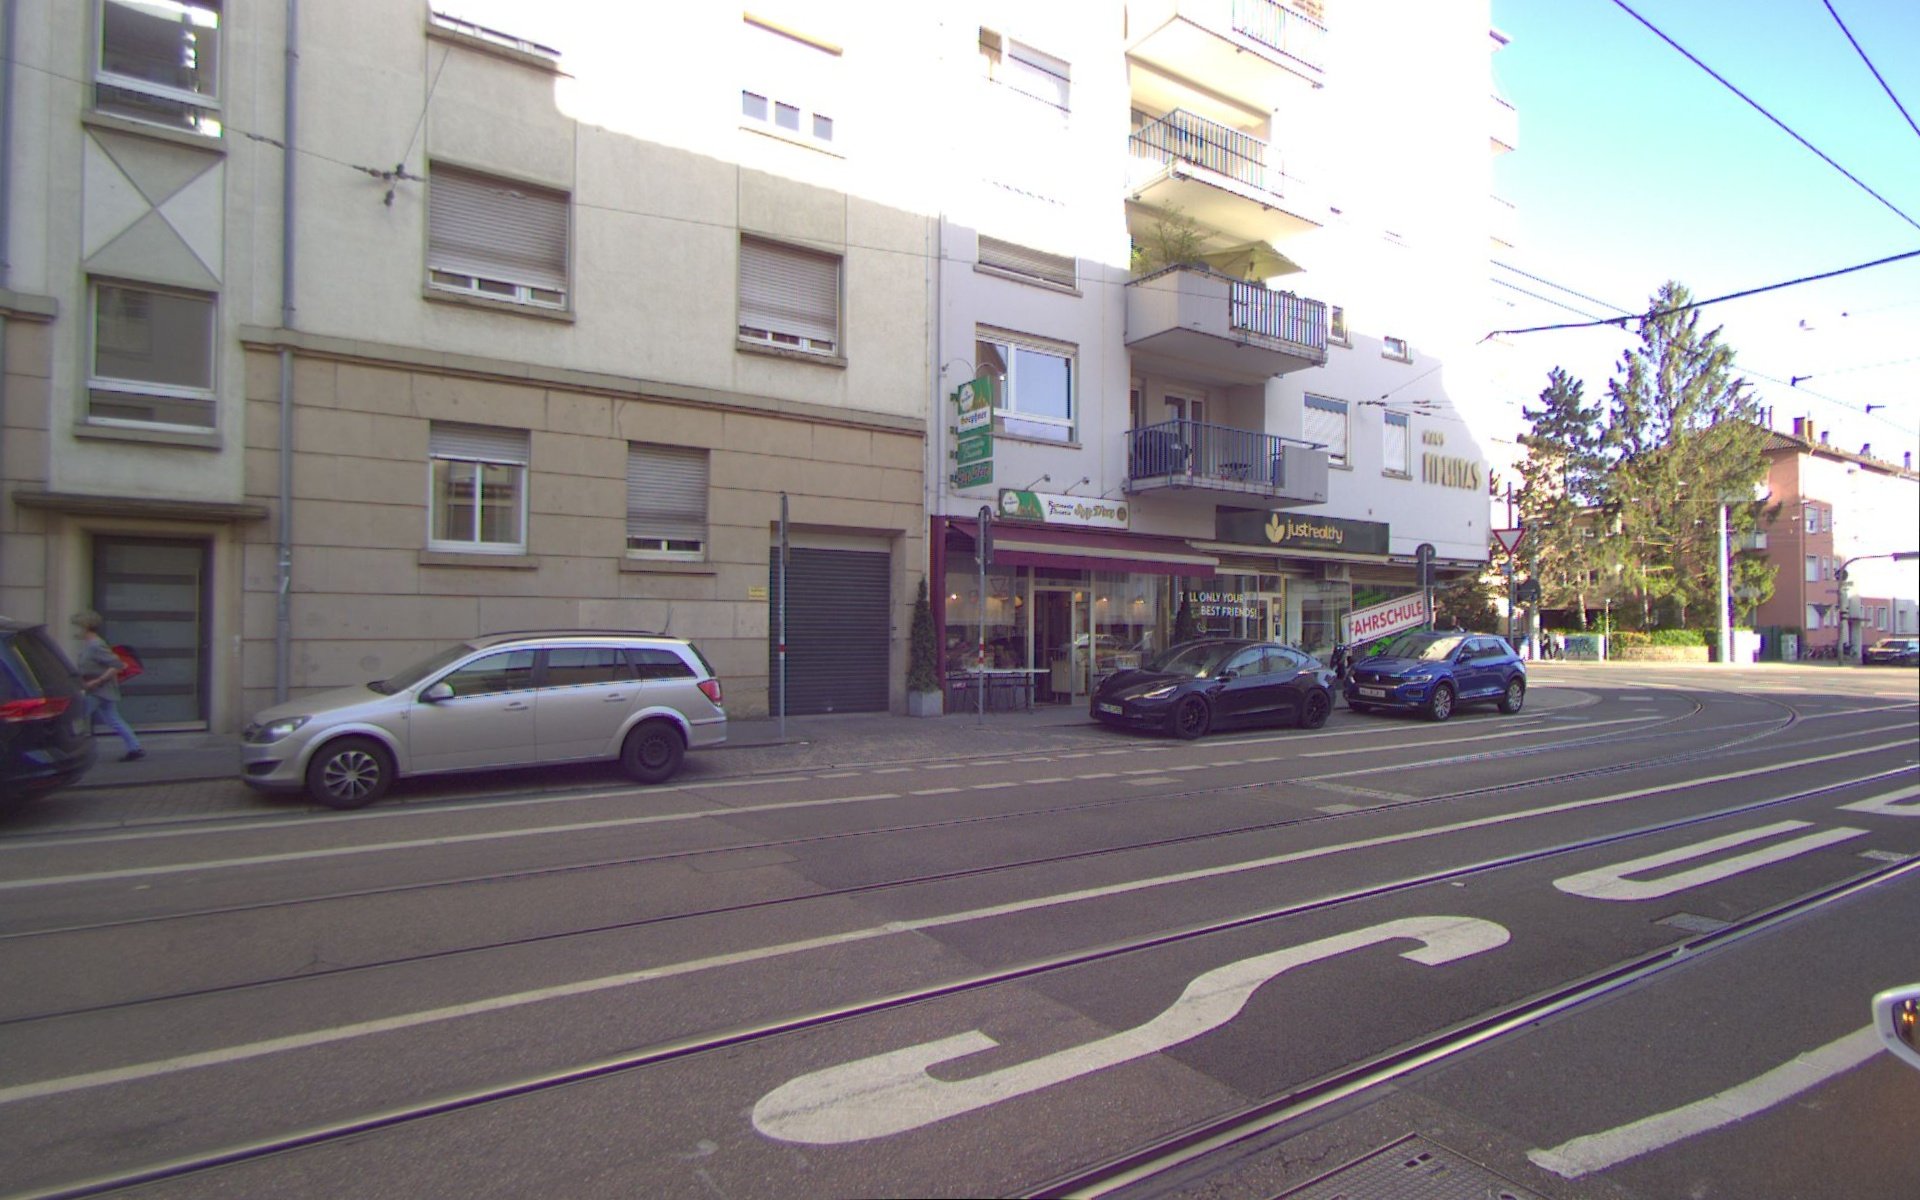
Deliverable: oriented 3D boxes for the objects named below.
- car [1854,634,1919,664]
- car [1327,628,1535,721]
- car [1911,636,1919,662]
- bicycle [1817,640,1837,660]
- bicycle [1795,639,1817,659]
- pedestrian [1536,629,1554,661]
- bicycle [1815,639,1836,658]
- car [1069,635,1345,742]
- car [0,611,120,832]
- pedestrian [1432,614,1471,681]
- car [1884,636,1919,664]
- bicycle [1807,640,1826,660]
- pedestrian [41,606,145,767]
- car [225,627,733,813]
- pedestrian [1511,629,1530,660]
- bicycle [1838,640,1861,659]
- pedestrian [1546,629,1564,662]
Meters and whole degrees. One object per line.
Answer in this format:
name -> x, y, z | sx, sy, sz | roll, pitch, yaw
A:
car -> 49.730, 2.615, 53.782 | 3.961, 1.539, 1.938 | 1, -2, -36
car -> 8.993, 1.342, 19.086 | 4.072, 1.525, 1.714 | 1, 1, -34
car -> 58.133, 2.896, 59.450 | 3.961, 1.539, 1.938 | 1, -2, -36
bicycle -> 47.610, 2.745, 55.164 | 1.895, 1.097, 0.532 | 2, -2, -41
bicycle -> 46.887, 2.723, 55.632 | 1.895, 1.097, 0.634 | 2, -2, -41
pedestrian -> 31.872, 2.464, 54.707 | 0.798, 1.725, 0.632 | -1, -2, 37
bicycle -> 50.746, 2.859, 58.880 | 1.892, 1.097, 0.533 | 1, -2, -37
car -> 4.013, 1.312, 16.044 | 4.442, 1.422, 1.714 | 1, 1, -34
car -> -8.994, 0.875, 7.195 | 4.343, 1.620, 1.785 | 1, -1, -34
pedestrian -> 14.013, 1.349, 28.673 | 0.707, 1.859, 0.771 | 0, -1, -3
car -> 54.278, 2.839, 57.012 | 4.006, 1.539, 1.938 | 1, -2, -36
bicycle -> 47.183, 2.733, 55.340 | 1.895, 1.097, 0.532 | 2, -2, -41
pedestrian -> -8.764, 0.851, 10.180 | 0.686, 1.562, 0.565 | 1, -2, -32
car -> -4.706, 1.045, 10.216 | 4.343, 1.497, 1.785 | 1, -1, -34
pedestrian -> 31.900, 2.534, 57.207 | 0.800, 1.725, 0.676 | -1, -2, 44
bicycle -> 53.162, 2.936, 60.024 | 1.892, 1.097, 0.605 | 1, -2, -37
pedestrian -> 32.012, 2.442, 54.040 | 0.798, 1.725, 0.604 | -1, -2, 37
